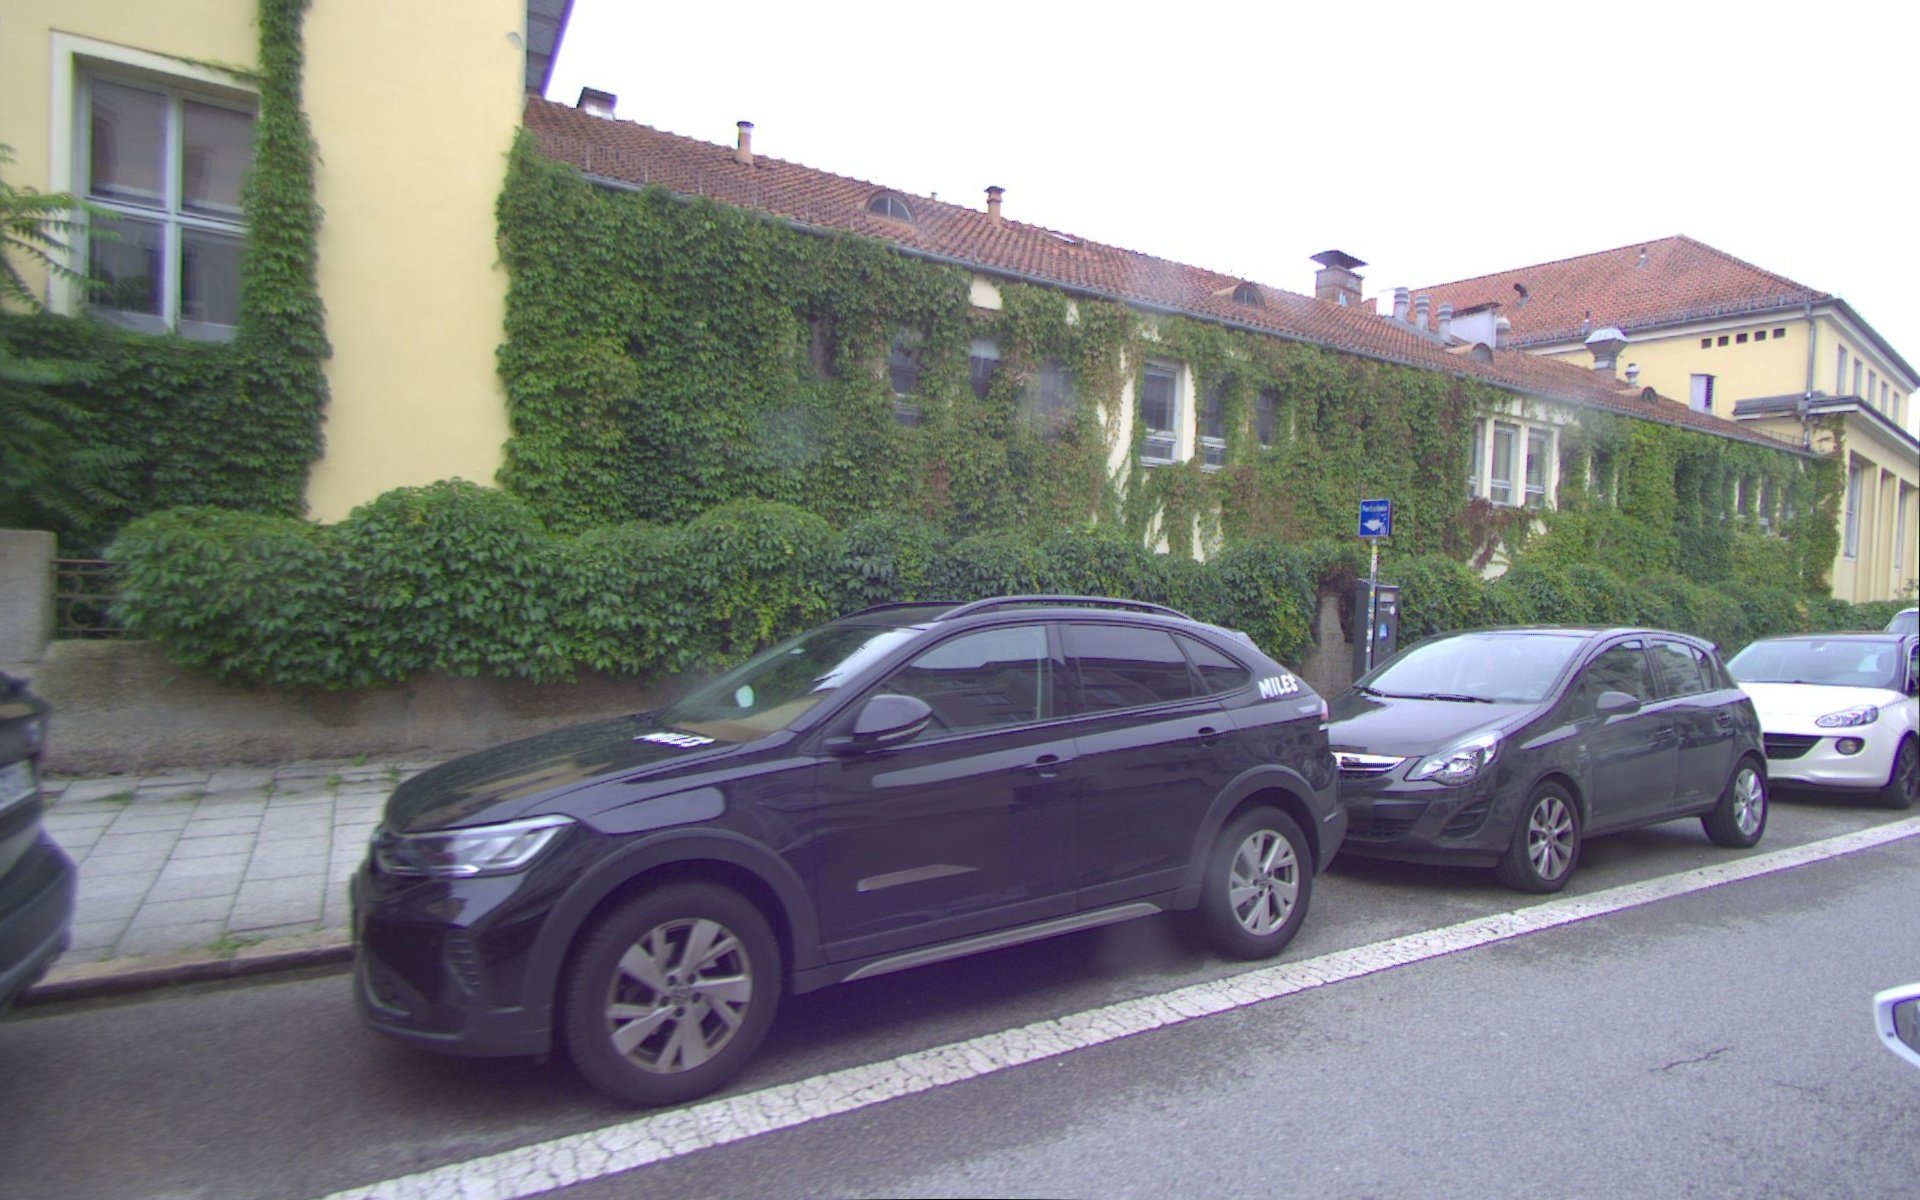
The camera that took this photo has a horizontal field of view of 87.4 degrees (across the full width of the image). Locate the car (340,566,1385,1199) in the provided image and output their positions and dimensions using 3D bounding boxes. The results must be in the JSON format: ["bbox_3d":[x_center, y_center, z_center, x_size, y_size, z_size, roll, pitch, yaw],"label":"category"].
[{"bbox_3d":[-0.227,0.759,4.295,4.104,1.558,1.772,1,-2,-33],"label":"car"}]

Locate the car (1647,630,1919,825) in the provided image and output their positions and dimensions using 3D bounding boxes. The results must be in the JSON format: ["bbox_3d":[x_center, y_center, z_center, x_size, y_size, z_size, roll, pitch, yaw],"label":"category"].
[{"bbox_3d":[8.258,1.055,9.479,3.688,1.512,1.570,1,-2,-32],"label":"car"}]

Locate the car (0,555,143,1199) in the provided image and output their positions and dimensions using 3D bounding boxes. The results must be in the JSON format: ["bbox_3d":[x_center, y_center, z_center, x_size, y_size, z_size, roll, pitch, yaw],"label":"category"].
[{"bbox_3d":[-4.338,0.669,1.861,4.149,1.558,1.772,1,-3,-33],"label":"car"}]

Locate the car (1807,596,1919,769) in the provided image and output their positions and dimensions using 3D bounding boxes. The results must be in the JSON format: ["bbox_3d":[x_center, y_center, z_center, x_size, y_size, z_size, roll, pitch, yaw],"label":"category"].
[{"bbox_3d":[12.583,0.967,12.238,4.702,1.900,1.985,2,-2,-30],"label":"car"}]

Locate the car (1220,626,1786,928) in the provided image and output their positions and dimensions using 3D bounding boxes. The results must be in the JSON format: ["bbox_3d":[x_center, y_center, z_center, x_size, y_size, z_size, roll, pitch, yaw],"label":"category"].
[{"bbox_3d":[3.667,0.922,6.618,3.860,1.474,1.570,1,-2,-32],"label":"car"}]
